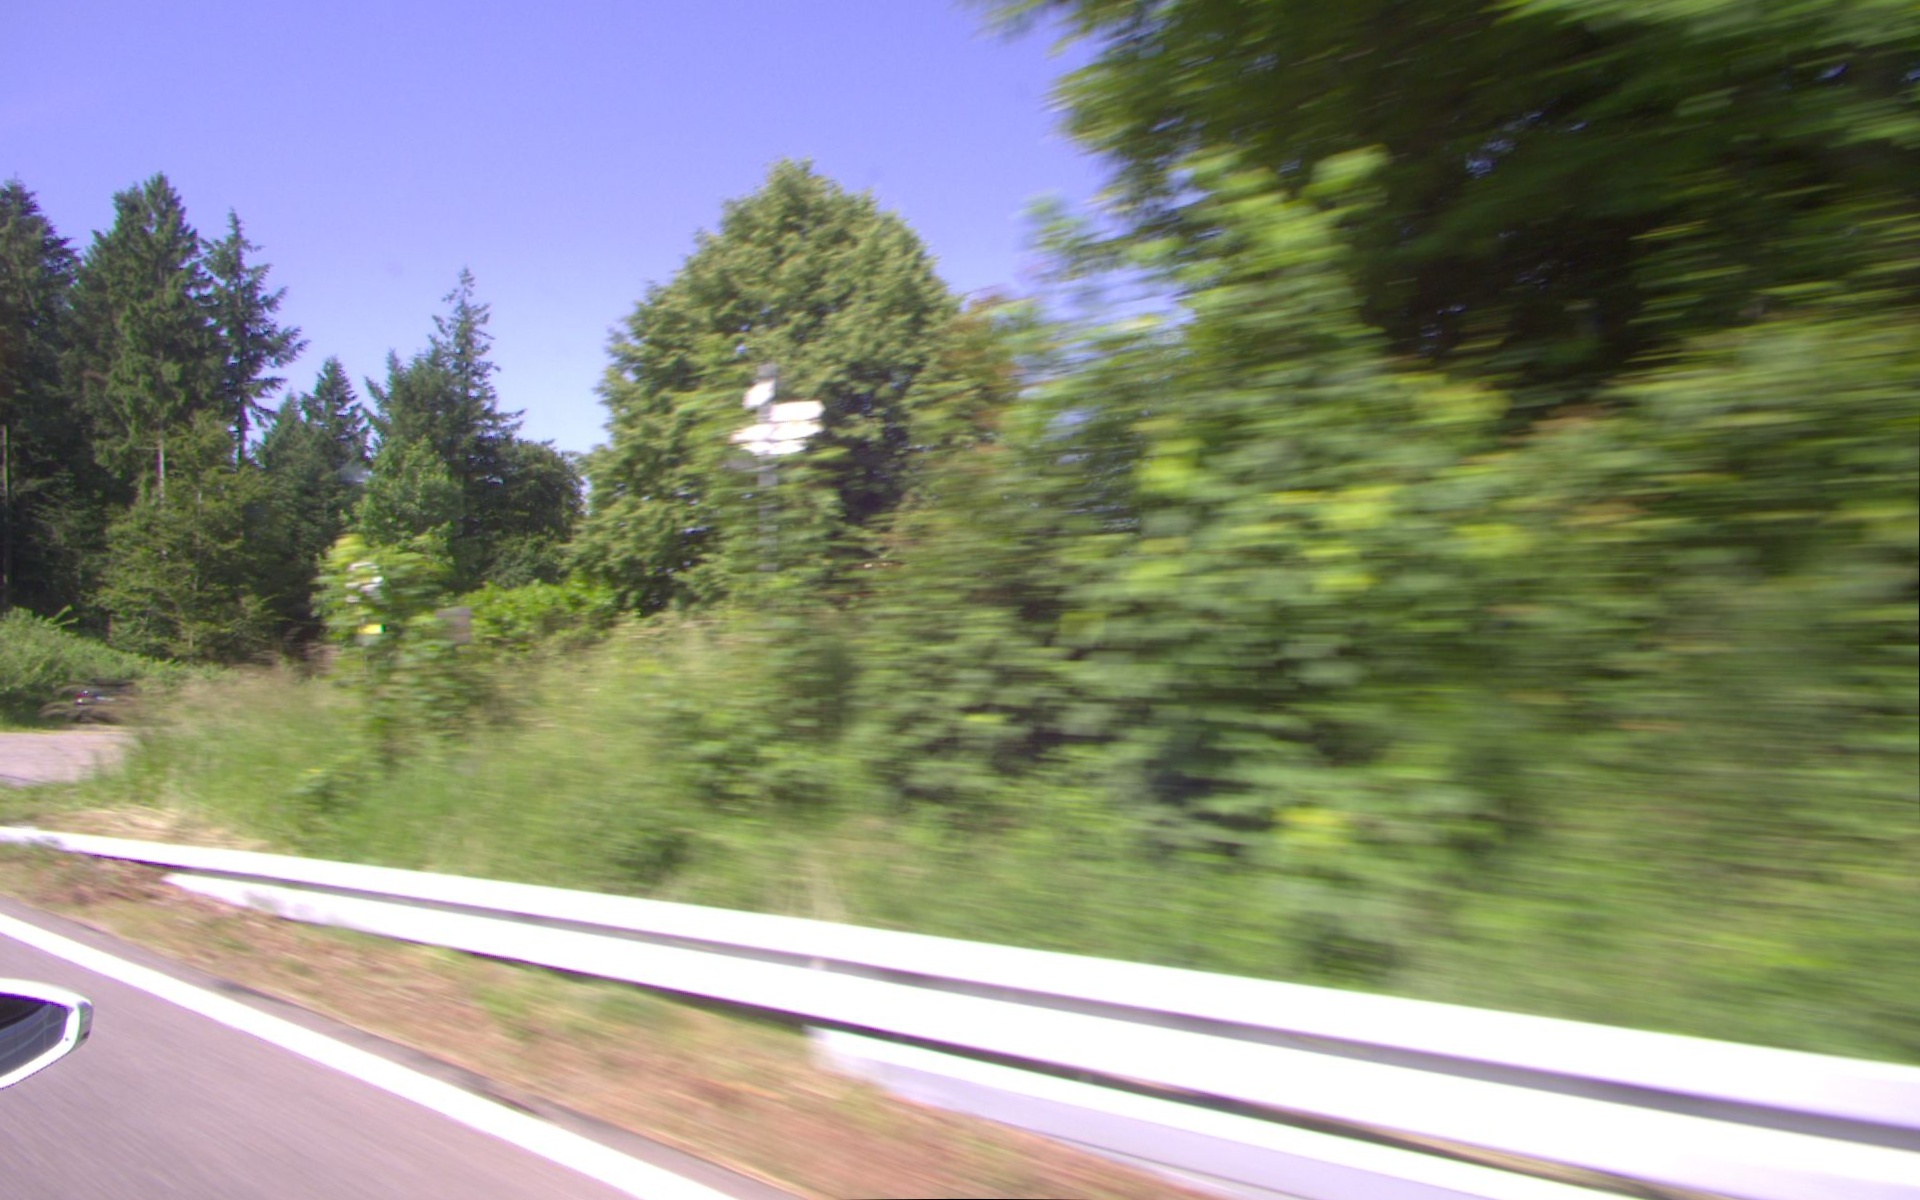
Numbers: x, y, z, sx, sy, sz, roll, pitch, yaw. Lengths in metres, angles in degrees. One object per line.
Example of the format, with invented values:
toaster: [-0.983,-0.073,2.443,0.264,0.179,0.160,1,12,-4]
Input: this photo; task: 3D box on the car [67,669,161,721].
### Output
car: [-31.559,3.533,37.488,1.915,1.612,3.979,7,-6,-31]
